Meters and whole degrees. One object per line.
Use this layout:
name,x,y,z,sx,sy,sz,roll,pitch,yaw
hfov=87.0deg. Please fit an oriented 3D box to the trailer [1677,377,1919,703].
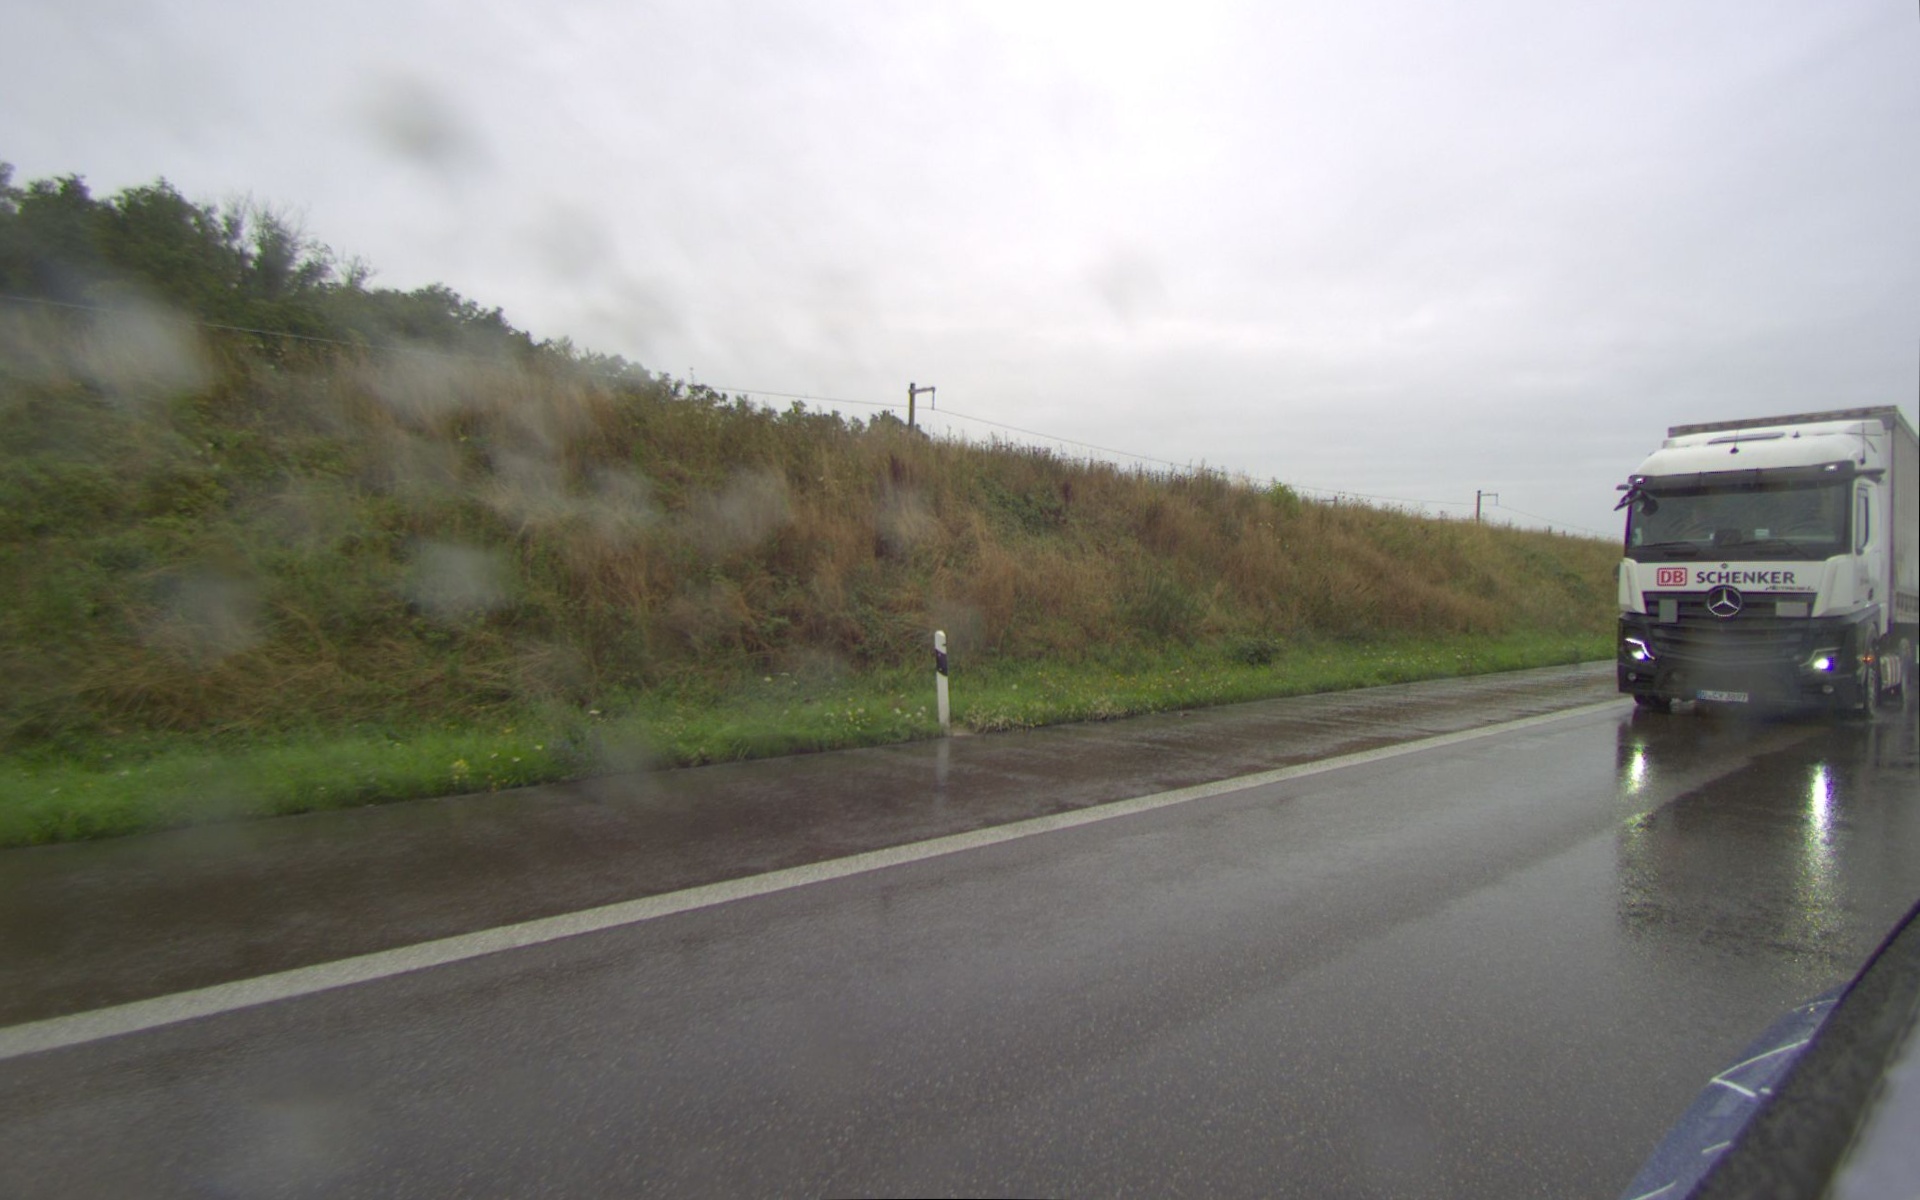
trailer,16.975,-0.868,18.970,13.930,4.302,2.631,-1,0,-41

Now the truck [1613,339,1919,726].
truck,11.260,-0.781,13.898,4.956,4.307,2.630,0,0,-42
